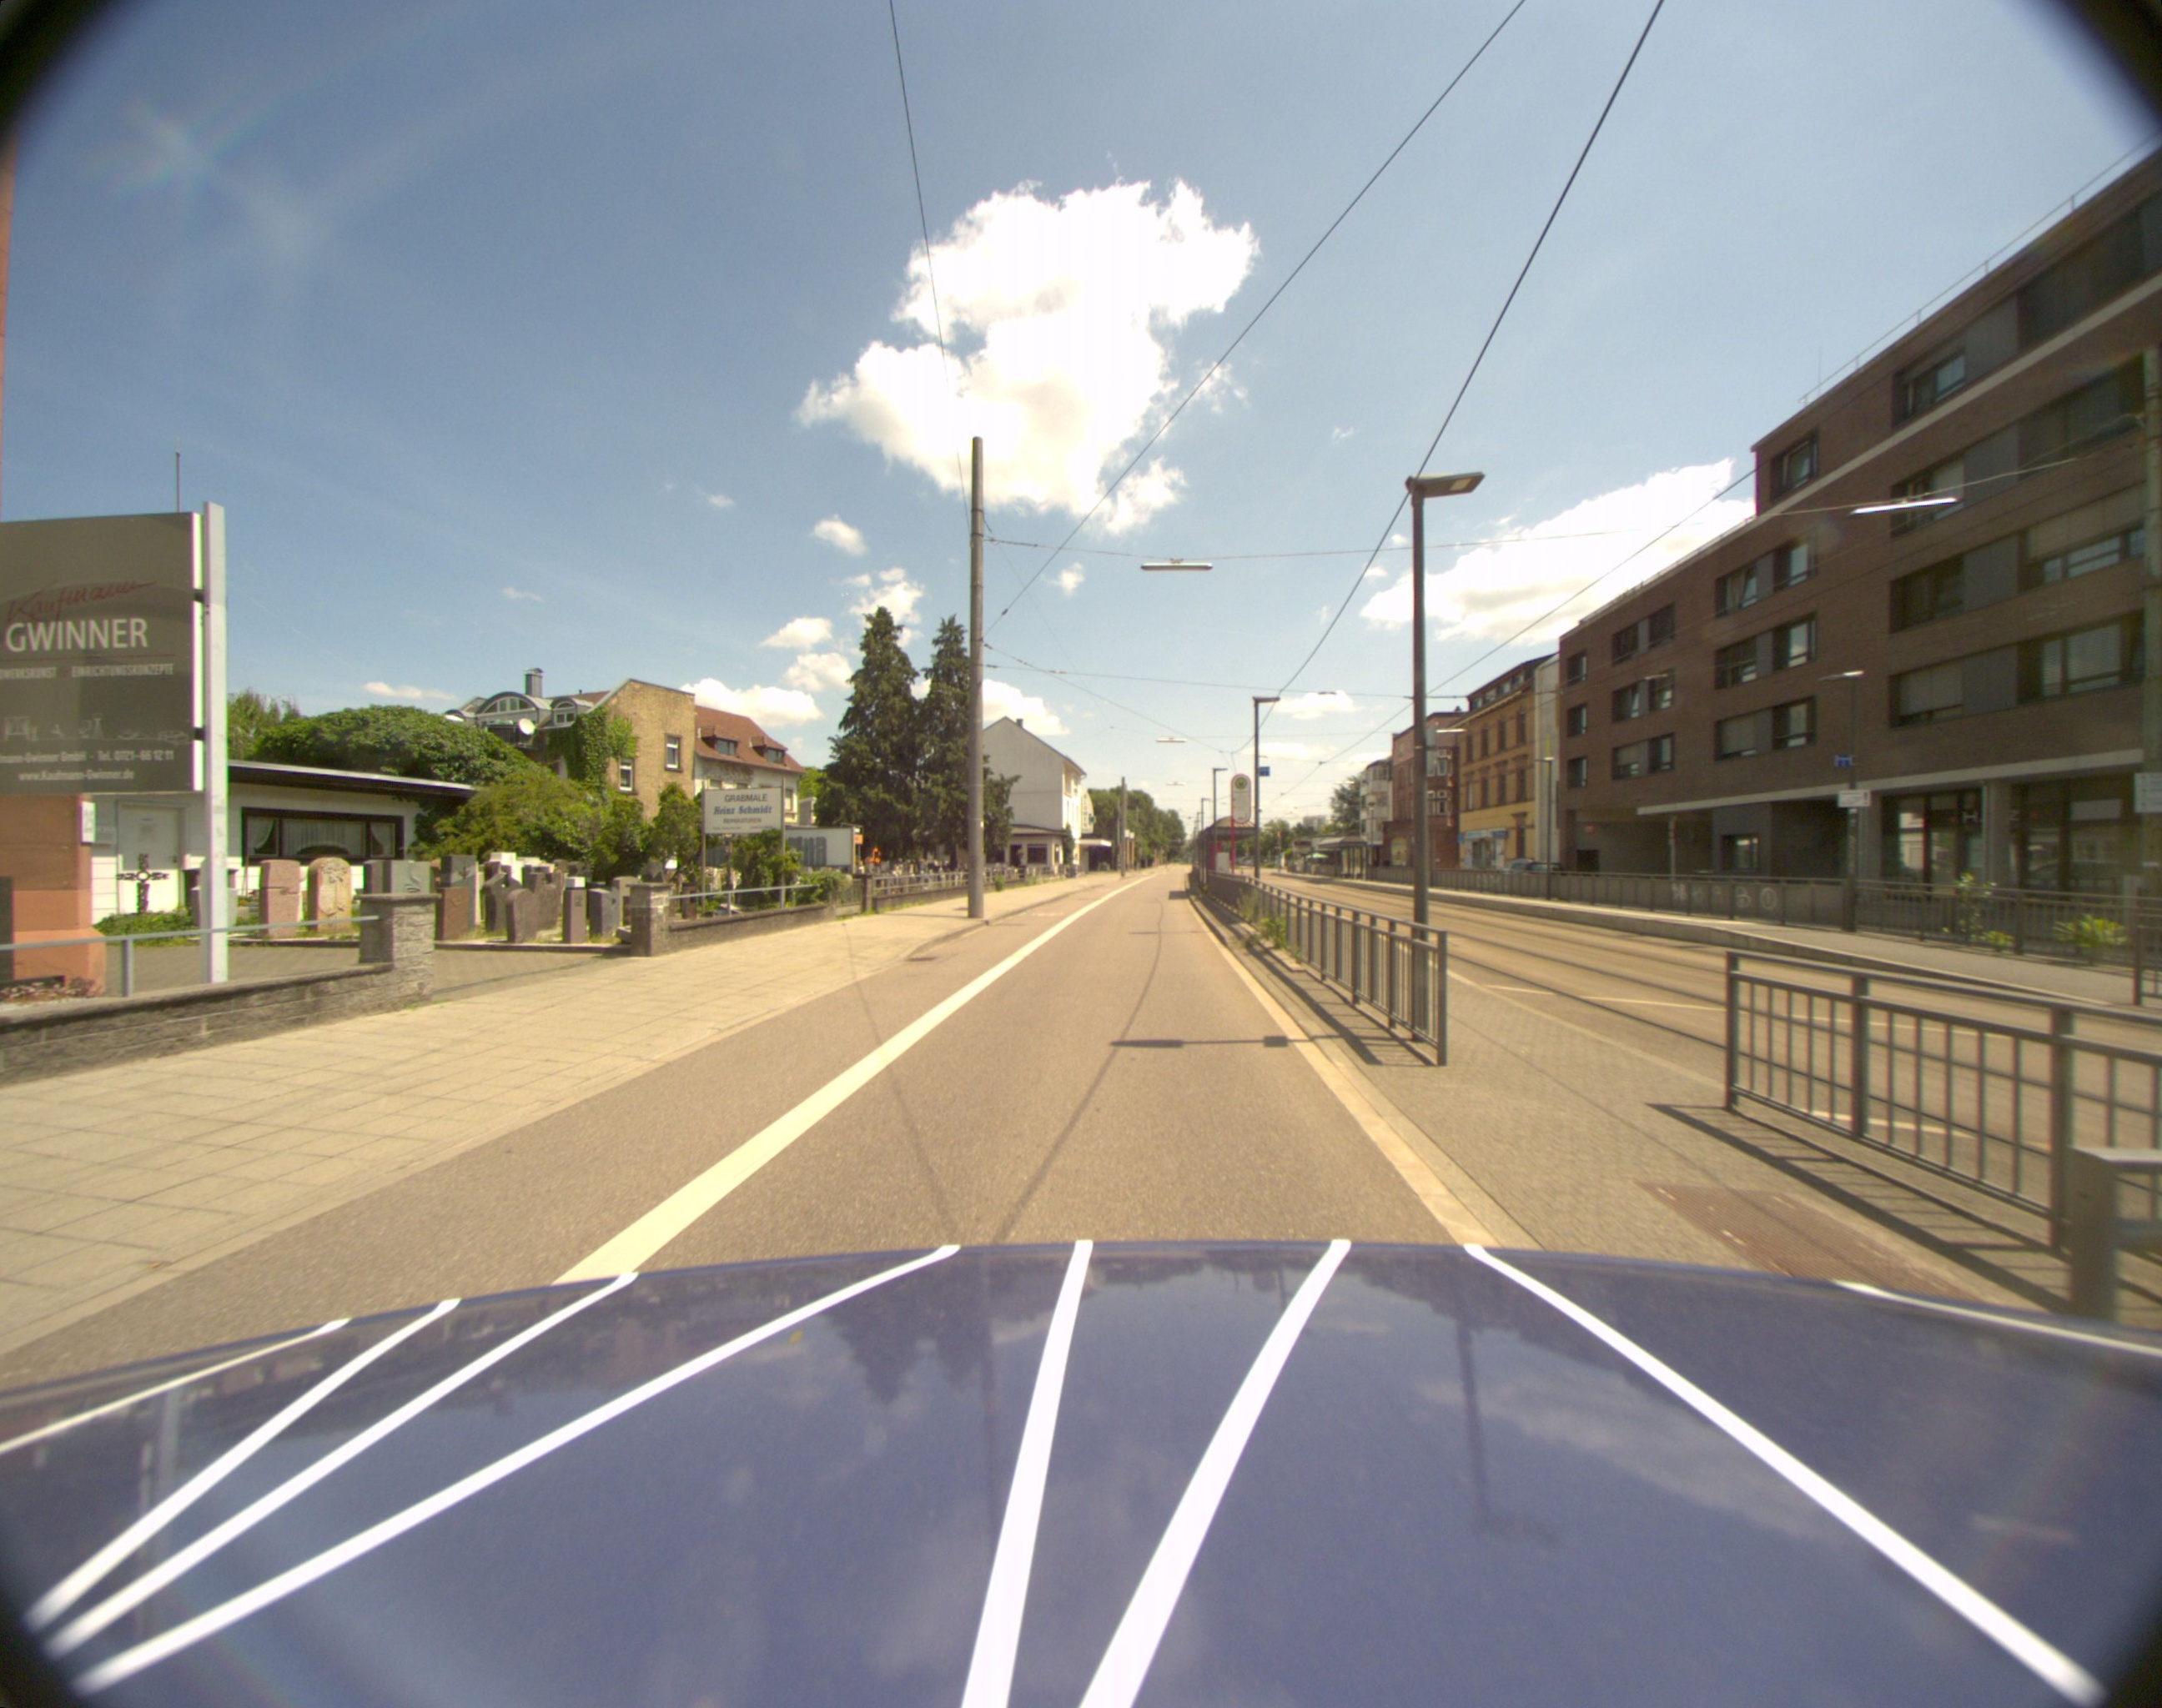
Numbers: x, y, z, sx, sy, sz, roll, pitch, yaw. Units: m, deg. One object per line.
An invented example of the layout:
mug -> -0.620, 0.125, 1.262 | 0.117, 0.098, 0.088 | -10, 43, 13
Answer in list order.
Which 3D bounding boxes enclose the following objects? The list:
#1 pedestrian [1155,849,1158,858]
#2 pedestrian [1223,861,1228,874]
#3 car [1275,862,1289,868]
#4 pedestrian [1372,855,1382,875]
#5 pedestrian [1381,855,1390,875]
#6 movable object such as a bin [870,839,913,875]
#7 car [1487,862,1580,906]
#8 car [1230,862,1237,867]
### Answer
pedestrian -> 15.267, -0.052, 153.580 | 0.766, 1.841, 0.718 | 0, 0, 5
pedestrian -> 17.686, 1.623, 92.864 | 0.578, 1.547, 0.786 | 2, 1, 11
car -> 61.334, 3.309, 231.751 | 3.994, 1.726, 1.804 | 2, 1, 9
pedestrian -> 28.830, 1.058, 74.020 | 0.678, 2.002, 0.685 | -1, 1, 6
pedestrian -> 29.685, 1.065, 73.991 | 0.619, 2.002, 0.811 | 0, 0, 6
movable object such as a bin -> -14.316, 0.221, 57.670 | 1.742, 2.604, 3.811 | 2, 1, 10
car -> 18.624, 1.187, 31.490 | 1.840, 1.618, 3.773 | 2, 1, 6
car -> 47.207, 3.363, 235.056 | 1.997, 1.463, 4.404 | 0, 0, 7
